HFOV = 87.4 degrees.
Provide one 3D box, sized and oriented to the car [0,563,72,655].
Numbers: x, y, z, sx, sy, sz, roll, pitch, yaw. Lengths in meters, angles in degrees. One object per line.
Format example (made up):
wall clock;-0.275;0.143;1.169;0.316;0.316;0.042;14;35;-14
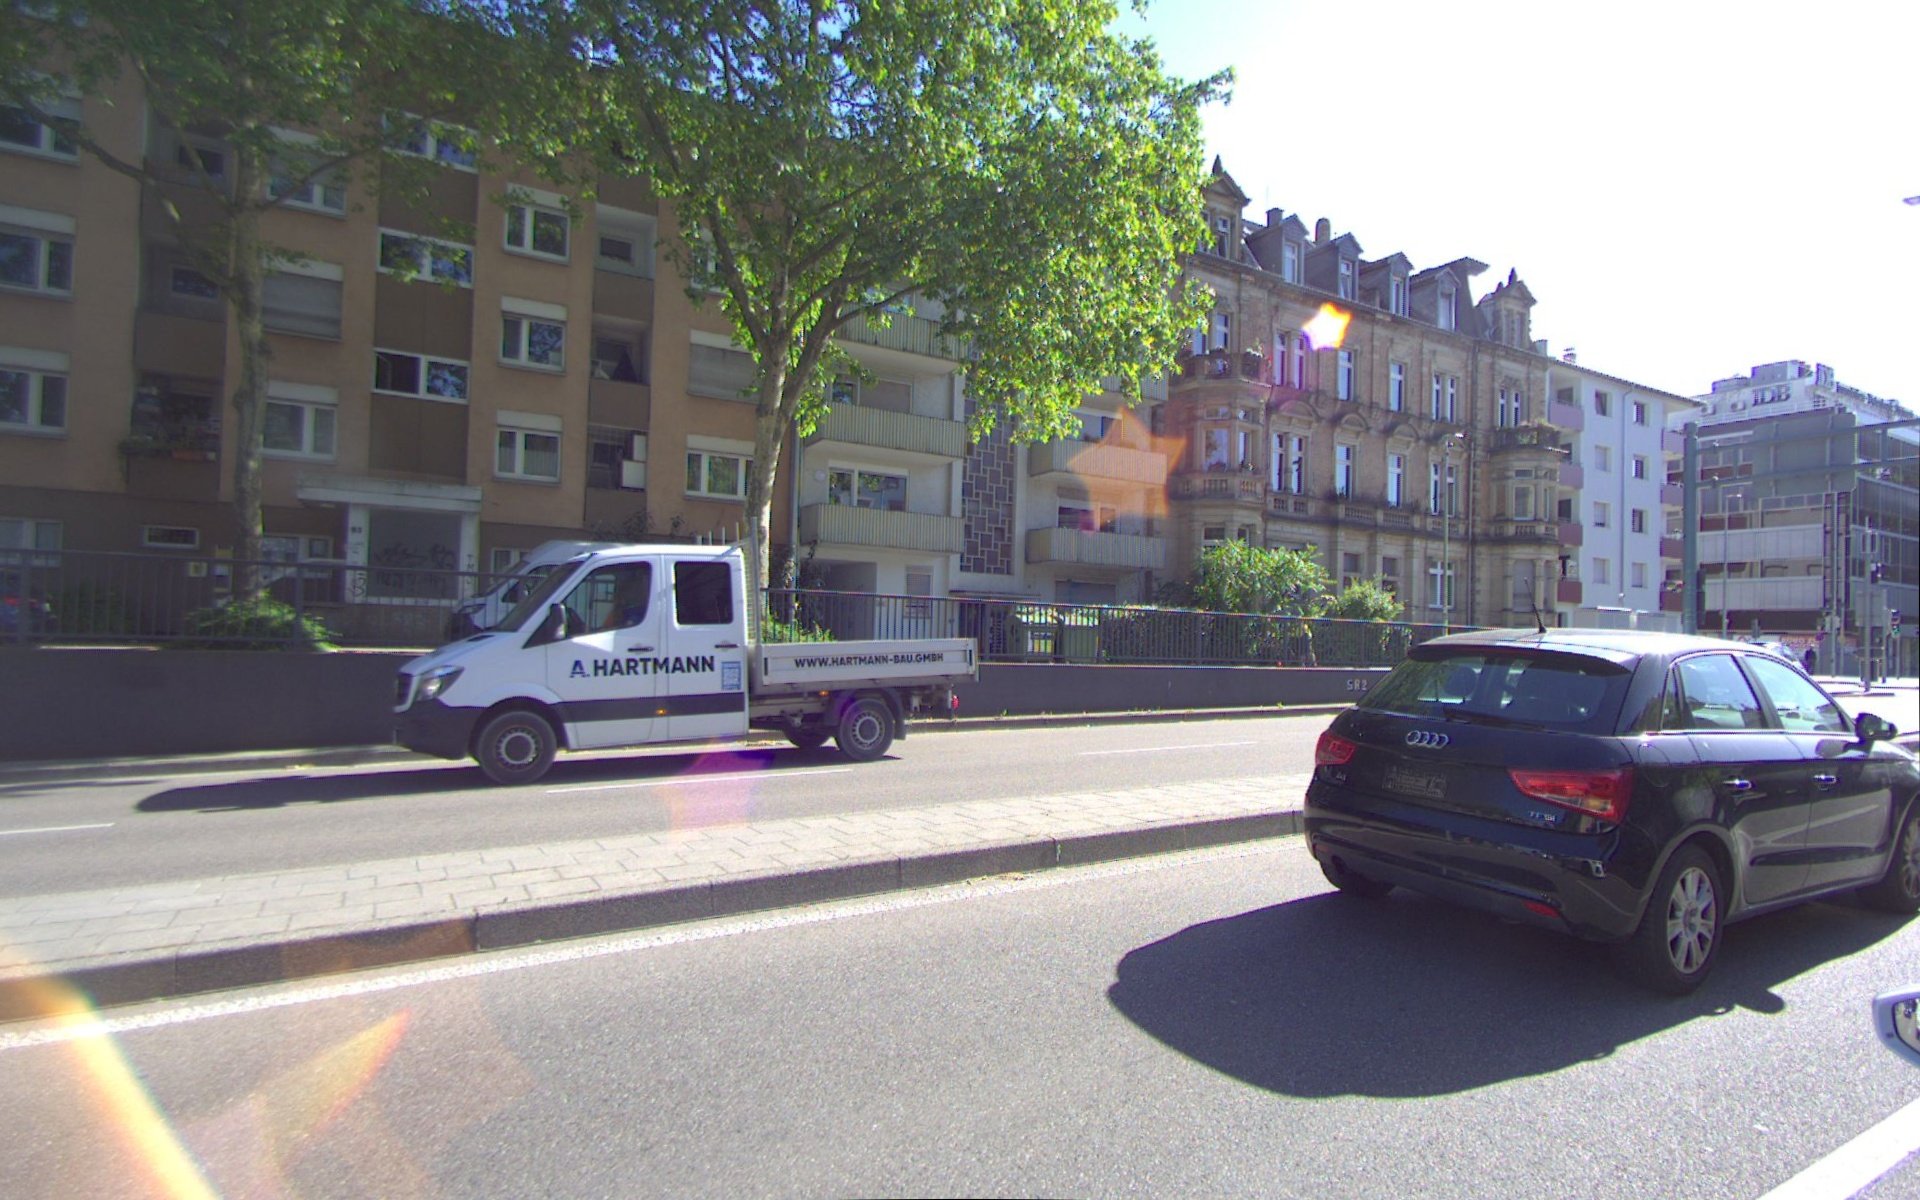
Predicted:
car;-16.670;0.067;15.466;4.124;1.407;1.984;2;0;-31

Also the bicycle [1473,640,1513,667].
bicycle;23.259;2.344;43.793;1.951;1.119;0.584;2;0;-31

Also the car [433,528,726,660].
car;-7.748;-0.043;20.651;5.354;2.391;1.984;2;0;-30

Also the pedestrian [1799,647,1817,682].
pedestrian;47.622;3.629;56.420;0.718;1.921;0.652;2;0;-43

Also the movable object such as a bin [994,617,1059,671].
movable object such as a bin;1.842;1.215;27.906;1.286;1.421;1.273;2;0;-30

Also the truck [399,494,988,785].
truck;-2.840;0.411;11.325;6.056;2.561;2.219;1;-2;-30

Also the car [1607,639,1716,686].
car;23.424;2.078;33.513;3.574;1.428;1.668;2;-1;-31

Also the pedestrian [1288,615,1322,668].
pedestrian;11.428;1.377;33.259;0.824;1.729;0.633;2;0;-31

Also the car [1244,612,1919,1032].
car;3.491;0.849;5.261;3.844;1.437;1.687;2;0;-31

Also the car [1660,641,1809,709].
car;17.992;1.723;23.315;3.456;1.464;1.584;2;-4;-31

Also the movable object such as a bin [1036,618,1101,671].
movable object such as a bin;3.073;1.261;28.477;1.309;1.421;1.273;2;0;-30

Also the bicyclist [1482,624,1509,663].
bicyclist;23.377;1.893;43.853;0.940;1.681;0.584;2;0;-31
